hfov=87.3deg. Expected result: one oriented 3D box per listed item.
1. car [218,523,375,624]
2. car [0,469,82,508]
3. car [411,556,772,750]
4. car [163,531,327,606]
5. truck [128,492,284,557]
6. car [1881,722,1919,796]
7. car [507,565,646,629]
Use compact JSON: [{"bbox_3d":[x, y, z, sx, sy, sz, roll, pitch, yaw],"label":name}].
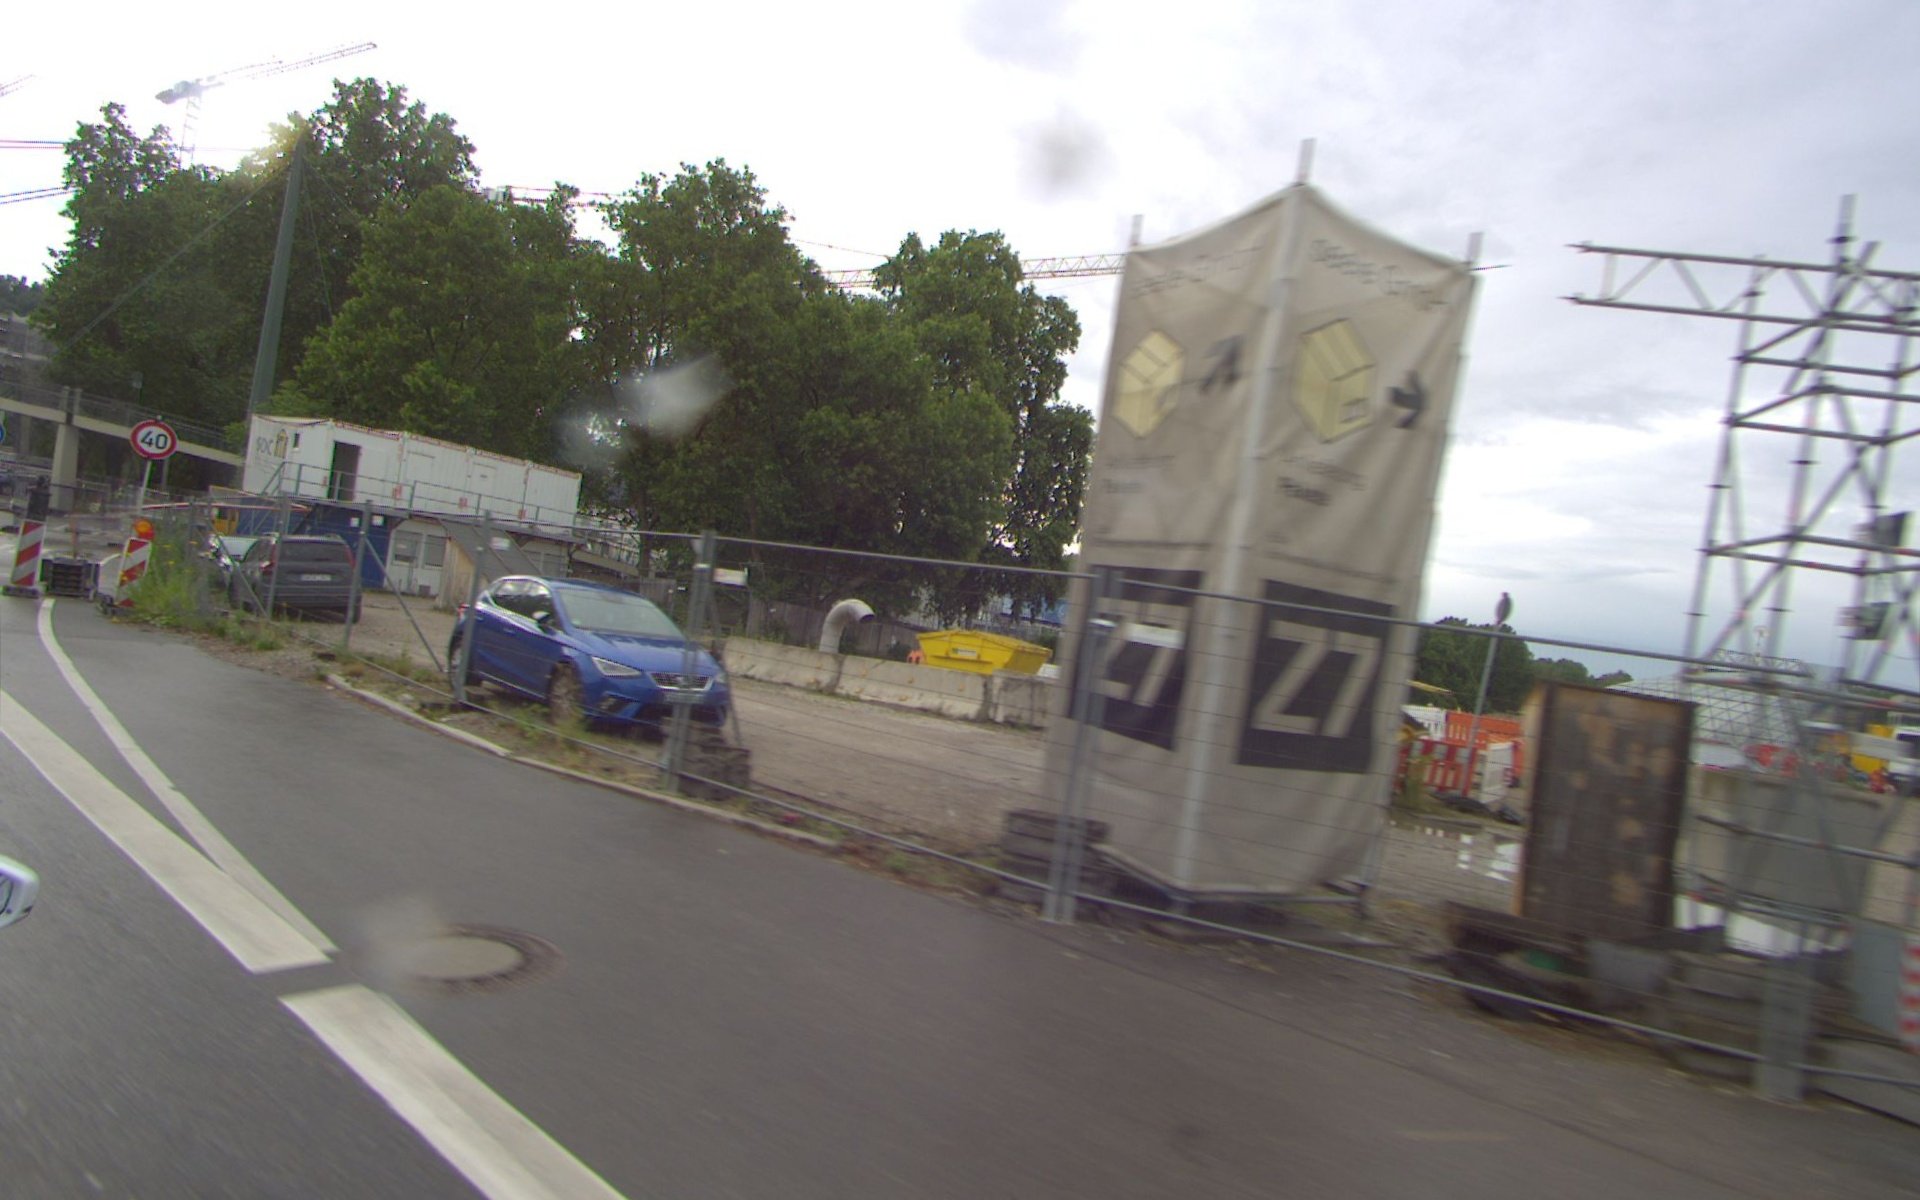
[{"bbox_3d":[-13.623,-0.591,20.528,1.913,1.672,4.357,2,4,-44],"label":"car"},{"bbox_3d":[-60.126,-7.281,65.150,1.760,1.648,4.546,10,0,36],"label":"car"},{"bbox_3d":[-4.265,0.522,11.275,4.352,1.457,1.832,7,-3,42],"label":"car"},{"bbox_3d":[-17.757,-0.792,24.946,3.935,1.502,1.853,4,-1,32],"label":"car"},{"bbox_3d":[-34.968,-3.465,46.798,2.369,2.037,5.163,7,-1,32],"label":"truck"},{"bbox_3d":[35.311,5.843,35.694,4.345,2.413,2.138,7,1,-24],"label":"car"},{"bbox_3d":[-11.474,-0.091,30.022,3.933,1.321,1.715,7,-2,32],"label":"car"}]
